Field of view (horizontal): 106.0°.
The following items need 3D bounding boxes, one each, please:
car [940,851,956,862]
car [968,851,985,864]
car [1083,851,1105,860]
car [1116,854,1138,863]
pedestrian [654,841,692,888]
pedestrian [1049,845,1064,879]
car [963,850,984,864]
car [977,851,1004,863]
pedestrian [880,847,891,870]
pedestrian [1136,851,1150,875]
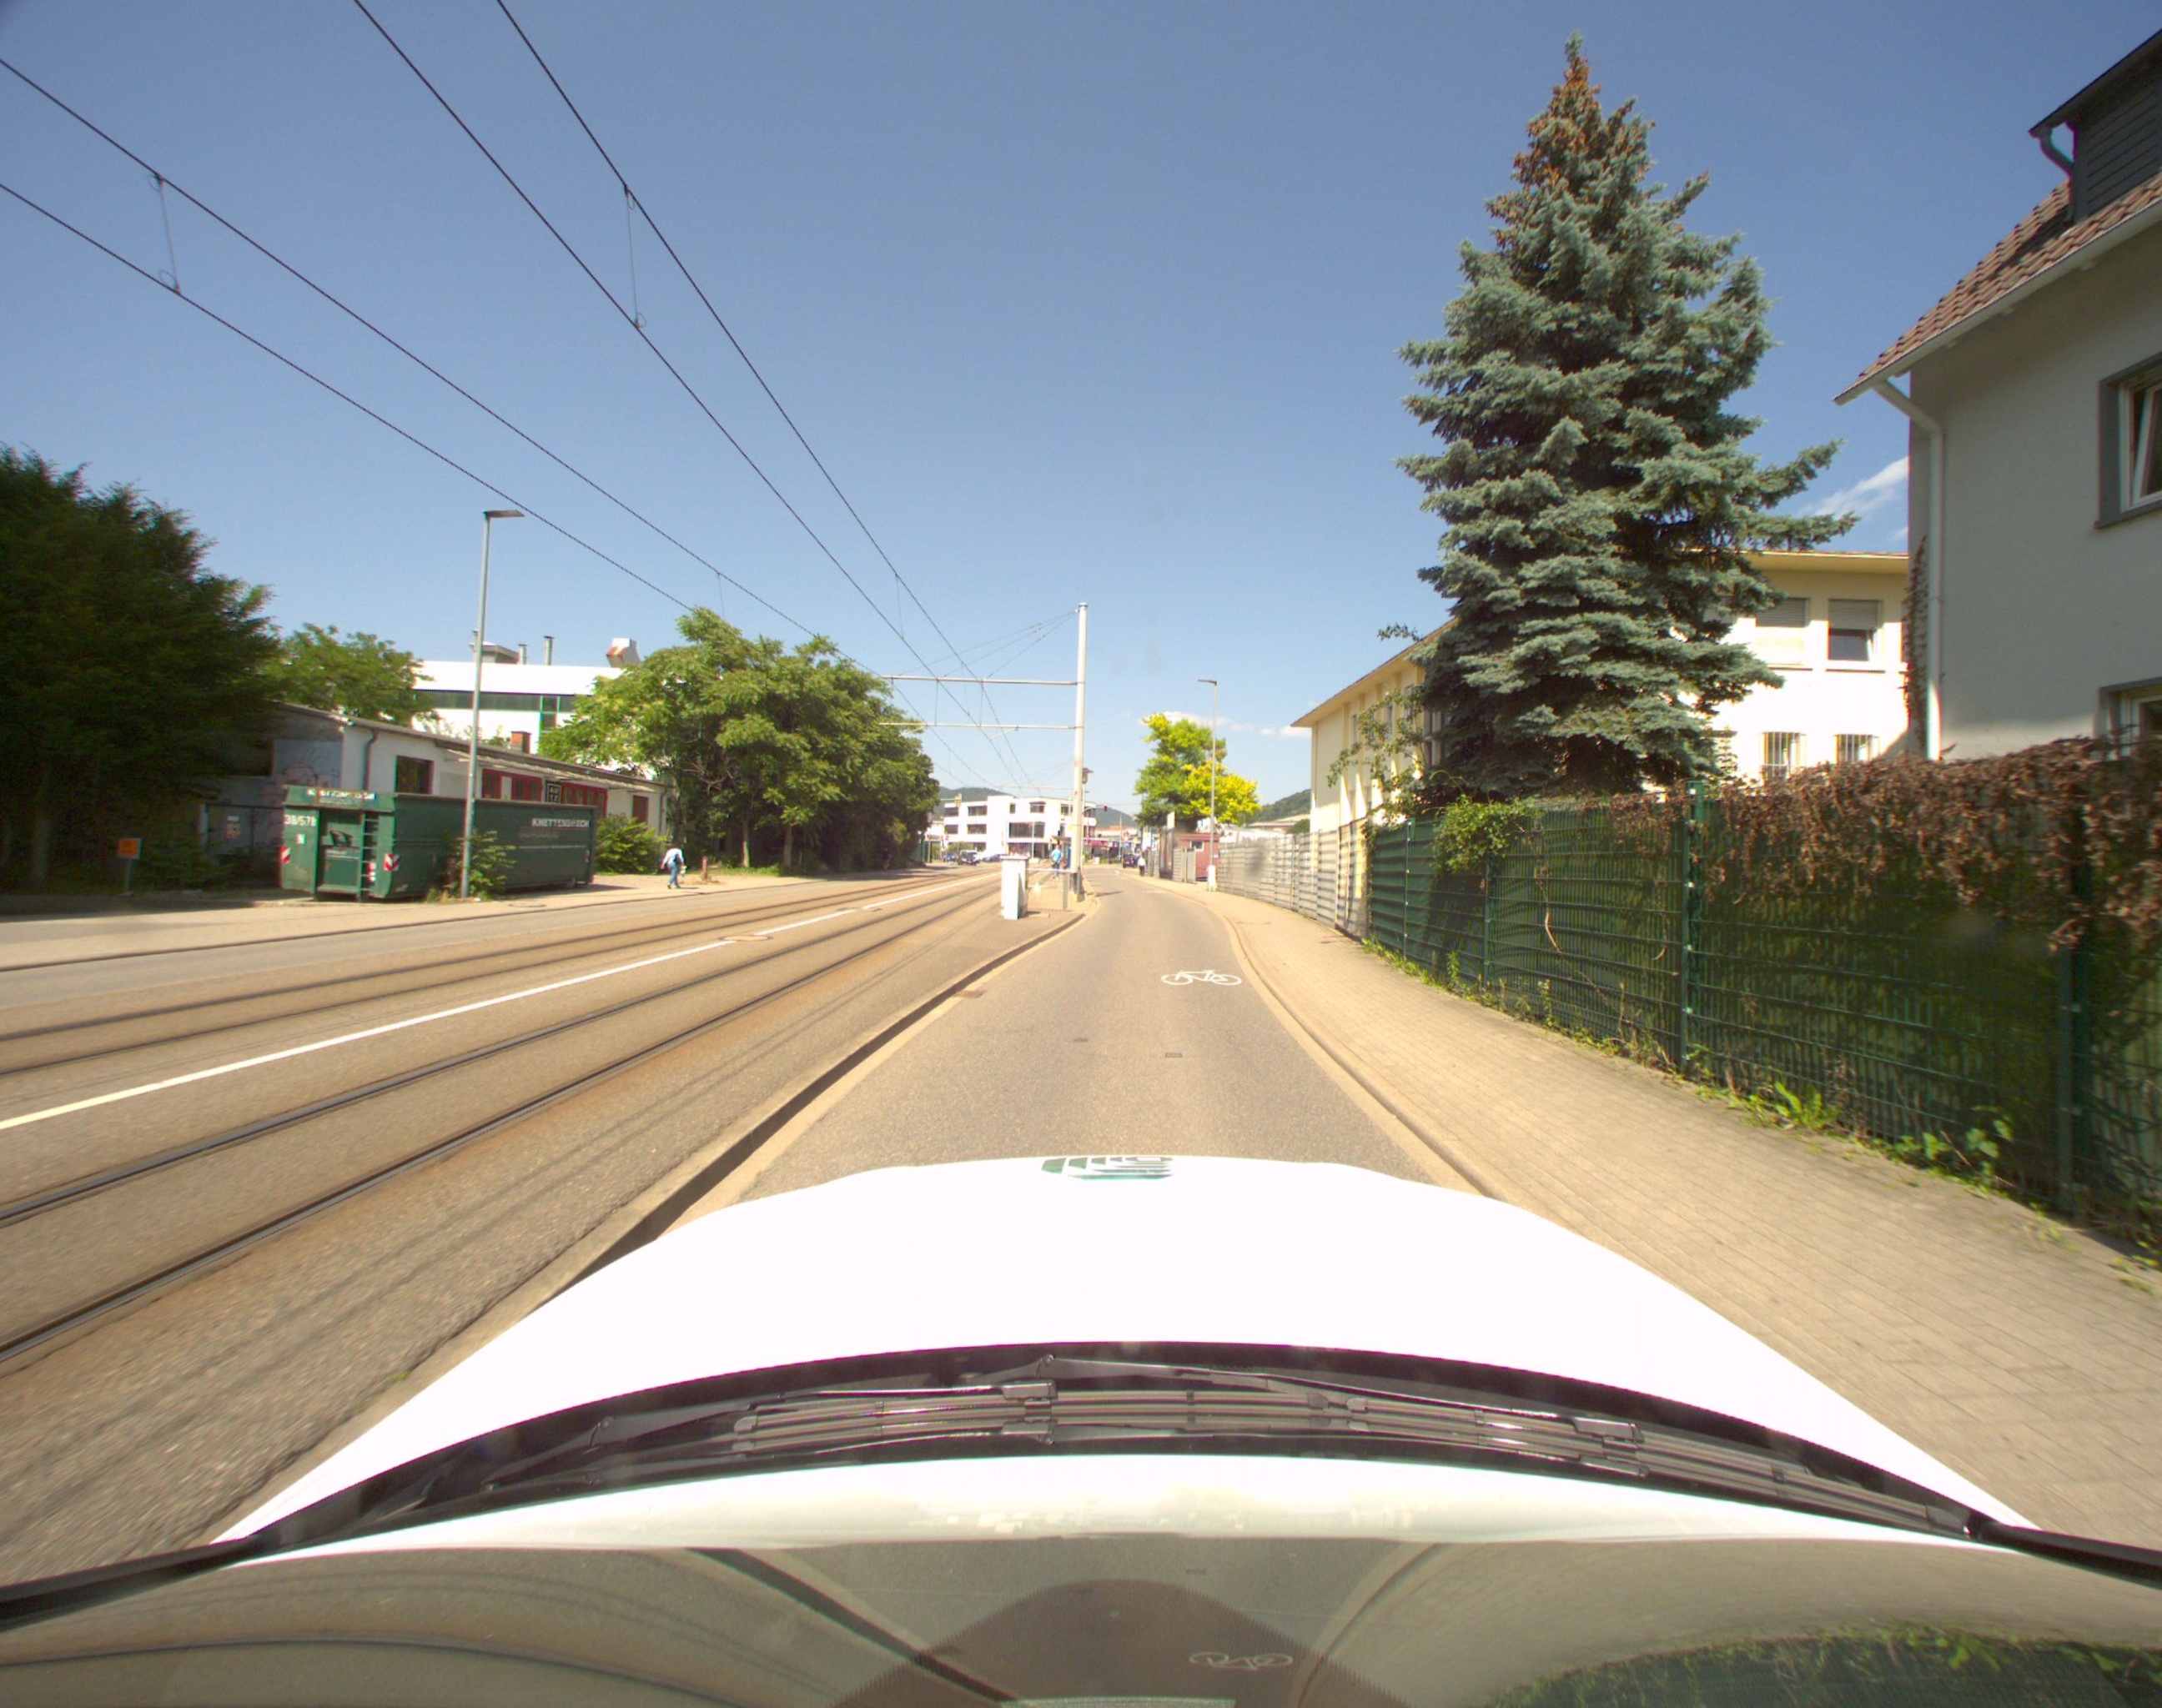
[{"bbox_3d":[-19.570,0.364,119.726,1.762,1.489,3.737,1,0,-20],"label":"car"},{"bbox_3d":[-13.923,0.430,108.756,1.759,1.647,3.742,1,0,-15],"label":"car"},{"bbox_3d":[2.428,0.277,149.116,4.022,1.662,1.714,1,0,-44],"label":"car"},{"bbox_3d":[8.337,0.799,147.072,1.842,1.662,4.023,1,0,45],"label":"car"},{"bbox_3d":[-13.611,0.353,27.175,0.832,1.537,0.838,1,0,-1],"label":"pedestrian"},{"bbox_3d":[-1.258,0.402,42.121,0.741,1.740,0.727,1,0,-1],"label":"pedestrian"},{"bbox_3d":[-12.423,0.321,94.107,1.779,1.552,4.002,1,0,2],"label":"car"},{"bbox_3d":[-13.529,0.419,122.073,3.897,1.680,1.724,1,0,-13],"label":"car"},{"bbox_3d":[-13.527,0.323,56.371,0.582,1.537,0.656,1,0,-1],"label":"pedestrian"},{"bbox_3d":[4.869,0.709,63.971,0.937,1.787,0.953,2,1,-2],"label":"pedestrian"}]
